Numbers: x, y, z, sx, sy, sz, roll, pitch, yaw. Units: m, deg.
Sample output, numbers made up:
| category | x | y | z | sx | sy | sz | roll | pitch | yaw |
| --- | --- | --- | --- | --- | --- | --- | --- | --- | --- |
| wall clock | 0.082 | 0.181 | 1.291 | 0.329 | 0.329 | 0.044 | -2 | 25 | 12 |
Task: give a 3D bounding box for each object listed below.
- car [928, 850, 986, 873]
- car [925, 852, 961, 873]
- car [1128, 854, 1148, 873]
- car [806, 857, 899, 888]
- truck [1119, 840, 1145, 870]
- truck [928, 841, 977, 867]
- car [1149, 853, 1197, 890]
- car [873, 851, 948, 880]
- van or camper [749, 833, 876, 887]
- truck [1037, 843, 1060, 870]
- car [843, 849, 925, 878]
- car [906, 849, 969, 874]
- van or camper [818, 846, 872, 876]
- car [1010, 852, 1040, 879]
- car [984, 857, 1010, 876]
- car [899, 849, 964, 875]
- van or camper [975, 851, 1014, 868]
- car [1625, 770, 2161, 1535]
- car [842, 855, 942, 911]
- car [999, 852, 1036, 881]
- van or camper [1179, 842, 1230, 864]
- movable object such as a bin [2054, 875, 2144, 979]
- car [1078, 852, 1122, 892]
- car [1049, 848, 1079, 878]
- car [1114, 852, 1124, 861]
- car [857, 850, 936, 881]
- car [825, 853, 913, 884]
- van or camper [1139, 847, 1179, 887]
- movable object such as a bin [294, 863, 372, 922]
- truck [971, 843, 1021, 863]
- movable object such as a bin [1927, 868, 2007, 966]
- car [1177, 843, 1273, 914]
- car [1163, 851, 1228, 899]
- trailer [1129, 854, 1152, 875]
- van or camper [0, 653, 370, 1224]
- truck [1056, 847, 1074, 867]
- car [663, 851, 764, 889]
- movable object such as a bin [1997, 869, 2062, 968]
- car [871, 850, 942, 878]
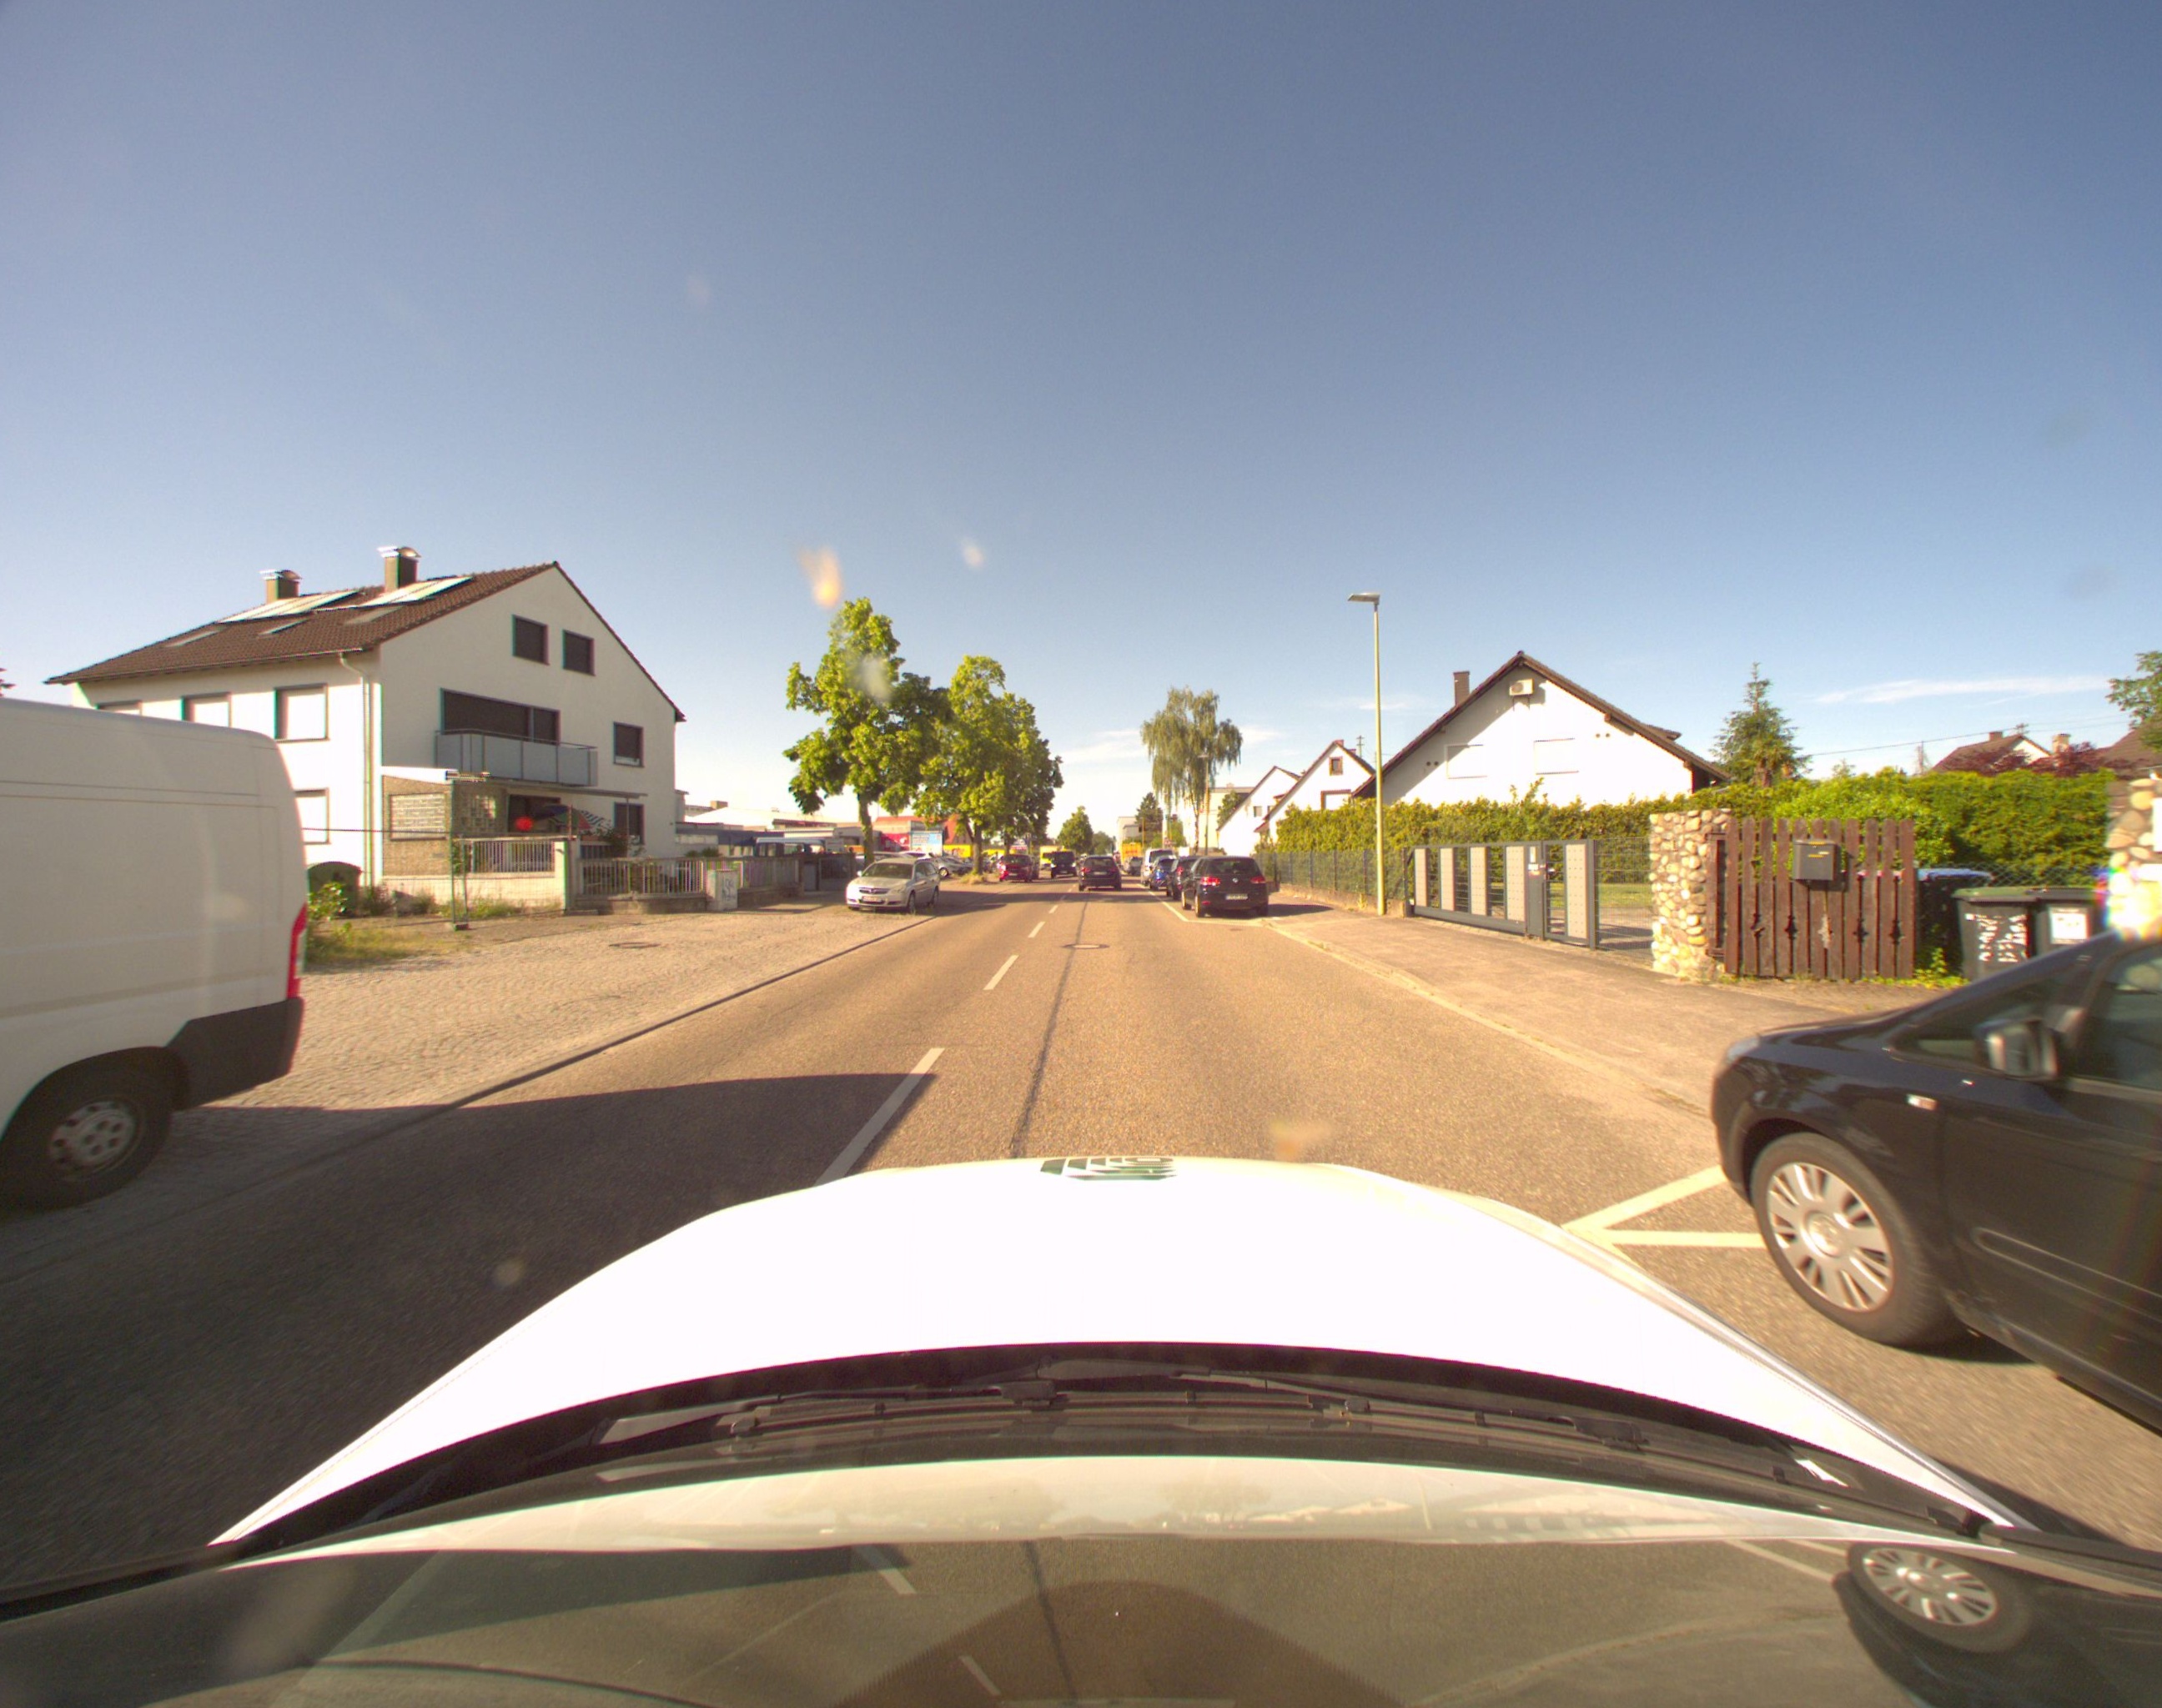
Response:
| category | x | y | z | sx | sy | sz | roll | pitch | yaw |
| --- | --- | --- | --- | --- | --- | --- | --- | --- | --- |
| car | -9.910 | 0.579 | 65.375 | 4.226 | 1.728 | 1.769 | -1 | 0 | 7 |
| car | -12.591 | 0.732 | 74.356 | 1.764 | 1.748 | 4.179 | -1 | 1 | 12 |
| car | 4.824 | 0.775 | 68.655 | 1.666 | 1.542 | 4.048 | 0 | 0 | 5 |
| car | -11.733 | 0.932 | 41.921 | 4.226 | 1.542 | 1.769 | 0 | 0 | 7 |
| truck | 5.416 | 0.123 | 86.844 | 2.394 | 2.936 | 7.018 | -3 | -1 | 1 |
| truck | -16.271 | 0.002 | 103.241 | 5.630 | 3.119 | 2.531 | 1 | 0 | 12 |
| car | 3.870 | 0.709 | 34.710 | 1.712 | 1.505 | 3.565 | 0 | 0 | 2 |
| car | -10.733 | 0.707 | 51.472 | 4.226 | 1.728 | 1.769 | -1 | 0 | 7 |
| van or camper | -11.876 | 0.278 | 36.139 | 4.857 | 2.320 | 2.252 | 0 | -1 | 14 |
| truck | -3.840 | 0.300 | 96.769 | 2.395 | 2.983 | 7.245 | 1 | 0 | 0 |
| car | -11.200 | 0.525 | 46.592 | 4.235 | 1.585 | 1.766 | 0 | 0 | 0 |
| car | -10.658 | 0.559 | 60.706 | 4.226 | 1.728 | 1.769 | -1 | 0 | 7 |
| van or camper | -22.413 | 0.646 | 77.576 | 2.150 | 2.715 | 6.290 | -1 | 0 | 12 |
| car | -3.843 | 0.757 | 56.494 | 1.668 | 1.771 | 4.556 | 1 | 0 | 1 |
| car | -7.613 | 1.170 | 74.446 | 1.855 | 1.590 | 4.276 | -1 | -2 | 1 |
| car | -10.700 | 0.562 | 58.456 | 4.231 | 1.728 | 1.767 | -1 | 0 | 3 |
| van or camper | -10.866 | 0.650 | 102.583 | 4.518 | 2.014 | 2.256 | -1 | 0 | 7 |
| car | 3.210 | 0.644 | 1.451 | 1.768 | 1.659 | 4.306 | 0 | 0 | 3 |
| car | -5.378 | 0.781 | 23.746 | 1.680 | 1.435 | 4.212 | 2 | 0 | 3 |
| car | -3.924 | 0.754 | 51.111 | 1.797 | 1.752 | 4.343 | 1 | 0 | 2 |
| van or camper | 14.930 | -0.128 | 98.713 | 5.841 | 2.541 | 2.271 | -1 | 0 | -25 |
| movable object such as a bin | 9.410 | 0.661 | 7.539 | 0.432 | 0.925 | 0.293 | -1 | 0 | 29 |
| car | 0.838 | 0.711 | 34.149 | 1.705 | 1.532 | 3.690 | -1 | 0 | 2 |
| car | -1.256 | 0.661 | 61.344 | 1.887 | 2.031 | 4.820 | -2 | 0 | 2 |
| car | 7.818 | 0.576 | 167.213 | 1.912 | 1.825 | 4.081 | -1 | 0 | 2 |
| car | -10.953 | 0.676 | 48.531 | 4.229 | 1.752 | 1.768 | -1 | 0 | 4 |
| car | -11.470 | 0.757 | 44.218 | 4.227 | 1.542 | 1.769 | -1 | 1 | 5 |
| van or camper | 3.862 | 0.605 | 40.671 | 1.712 | 1.890 | 4.181 | 0 | 0 | 2 |
| movable object such as a bin | -18.517 | 0.924 | 20.190 | 0.632 | 1.390 | 1.262 | -1 | 0 | 15 |
| truck | -10.975 | -0.108 | 105.317 | 5.881 | 2.567 | 2.231 | 1 | 0 | 12 |
| movable object such as a bin | 8.778 | 0.604 | 8.083 | 0.368 | 0.925 | 0.557 | -1 | 0 | 29 |
| car | 3.567 | 0.566 | 20.816 | 1.770 | 1.659 | 3.815 | 0 | 0 | 0 |
| car | 3.858 | 0.680 | 28.037 | 1.713 | 1.505 | 3.906 | 0 | 0 | 0 |
| trailer | 4.558 | 0.791 | 62.739 | 1.621 | 1.538 | 3.200 | -1 | 0 | 2 |
| van or camper | -5.747 | 0.333 | 2.507 | 2.116 | 2.490 | 5.554 | 3 | 0 | 0 |
| truck | -2.515 | 0.512 | 130.700 | 2.394 | 2.983 | 6.376 | 1 | 0 | 2 |
| car | -16.443 | 0.749 | 36.484 | 3.953 | 1.579 | 1.685 | -1 | -2 | 15 |
| movable object such as a bin | 9.030 | 0.605 | 7.757 | 0.340 | 0.925 | 0.206 | -1 | 0 | 29 |
| car | -11.462 | 0.639 | 53.619 | 4.226 | 1.728 | 1.769 | -1 | 0 | 7 |
